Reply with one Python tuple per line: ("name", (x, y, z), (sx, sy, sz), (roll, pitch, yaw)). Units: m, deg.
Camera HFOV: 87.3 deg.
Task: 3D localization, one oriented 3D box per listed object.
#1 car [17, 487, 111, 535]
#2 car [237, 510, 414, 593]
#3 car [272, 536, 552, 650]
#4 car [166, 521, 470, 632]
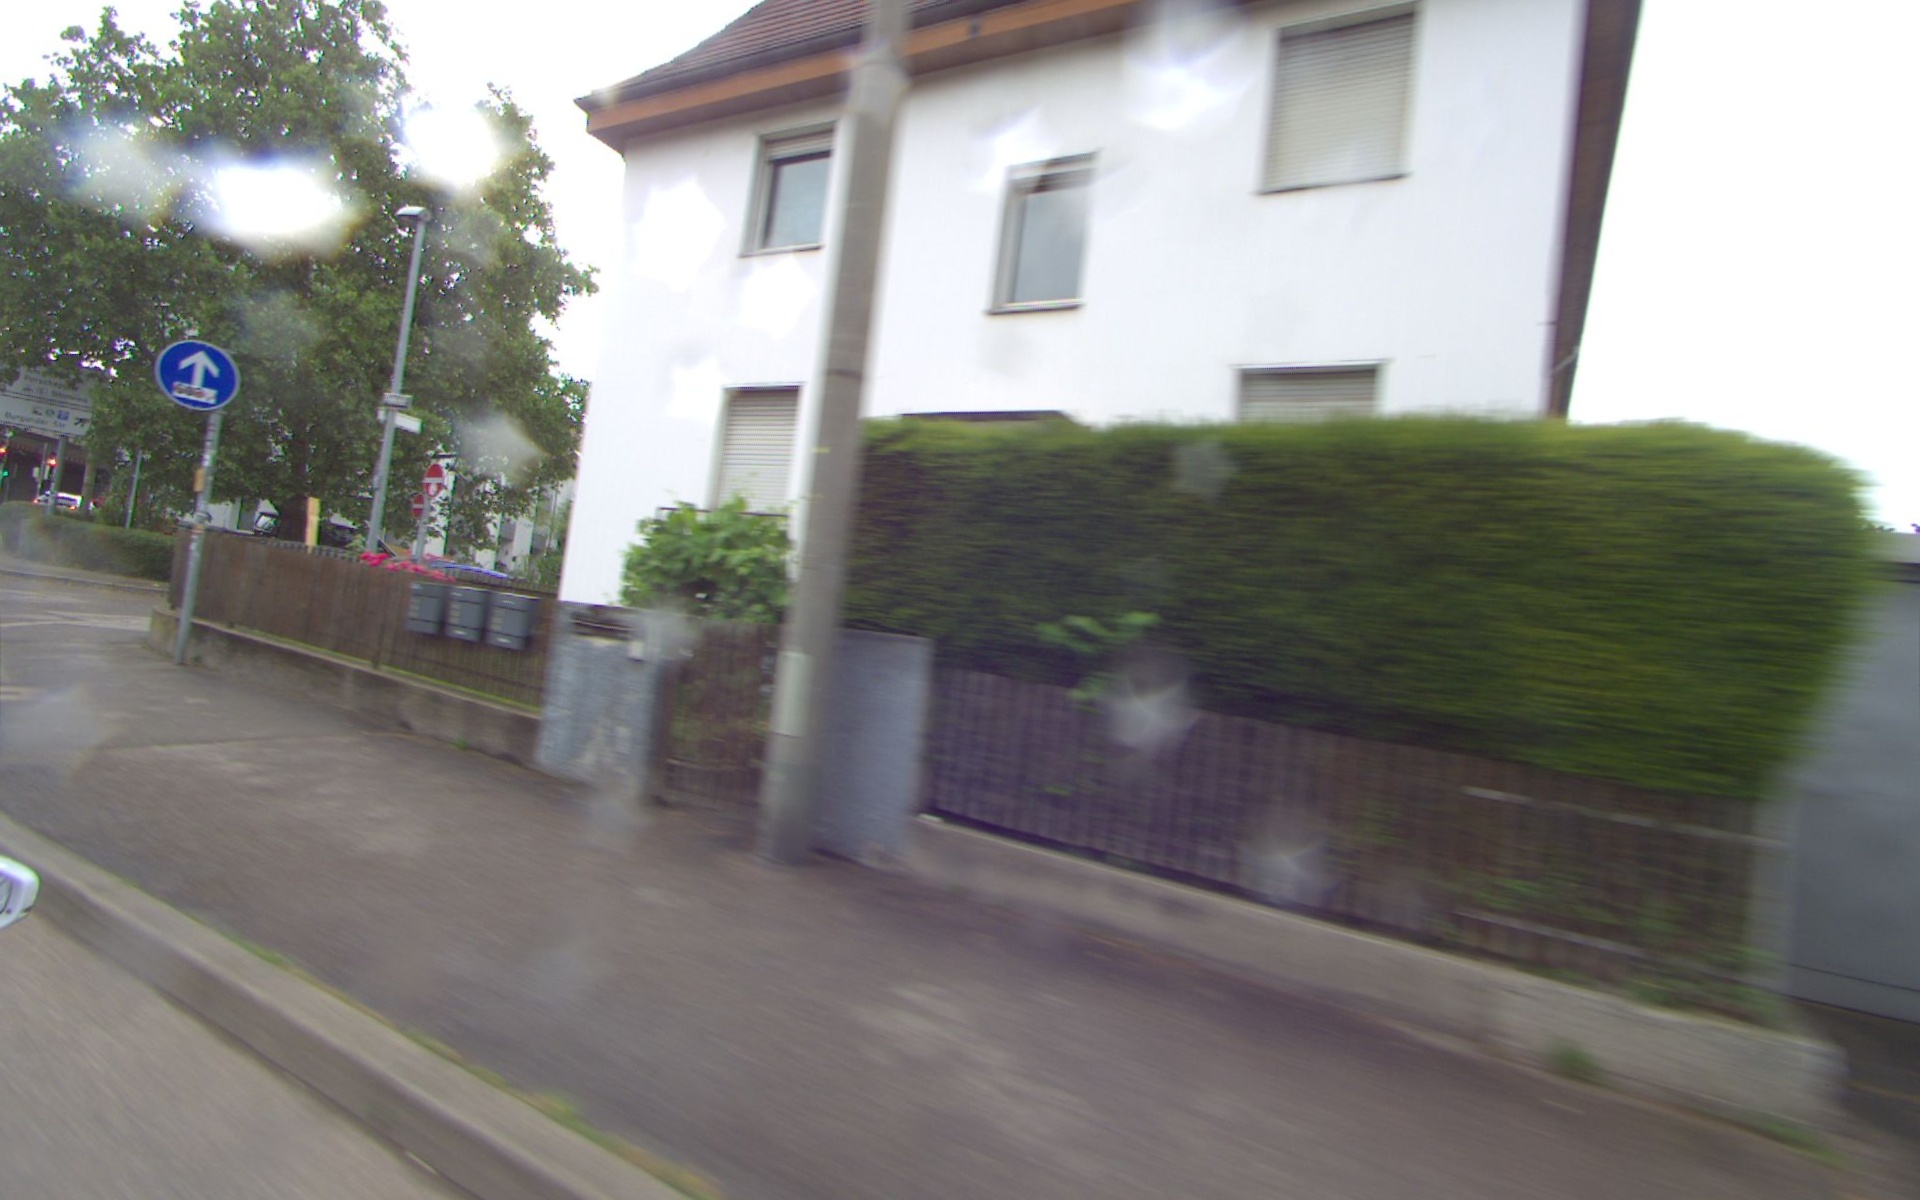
("car", (-41.226, -4.044, 46.414), (1.976, 1.566, 3.978), (10, -3, -25))
("car", (-20.972, -1.541, 33.470), (1.966, 1.953, 4.413), (7, -2, 29))
("car", (-10.116, -0.065, 18.899), (1.854, 1.497, 4.122), (7, -2, 32))
("car", (-12.654, -0.382, 20.256), (1.852, 1.497, 4.819), (8, -2, 25))
